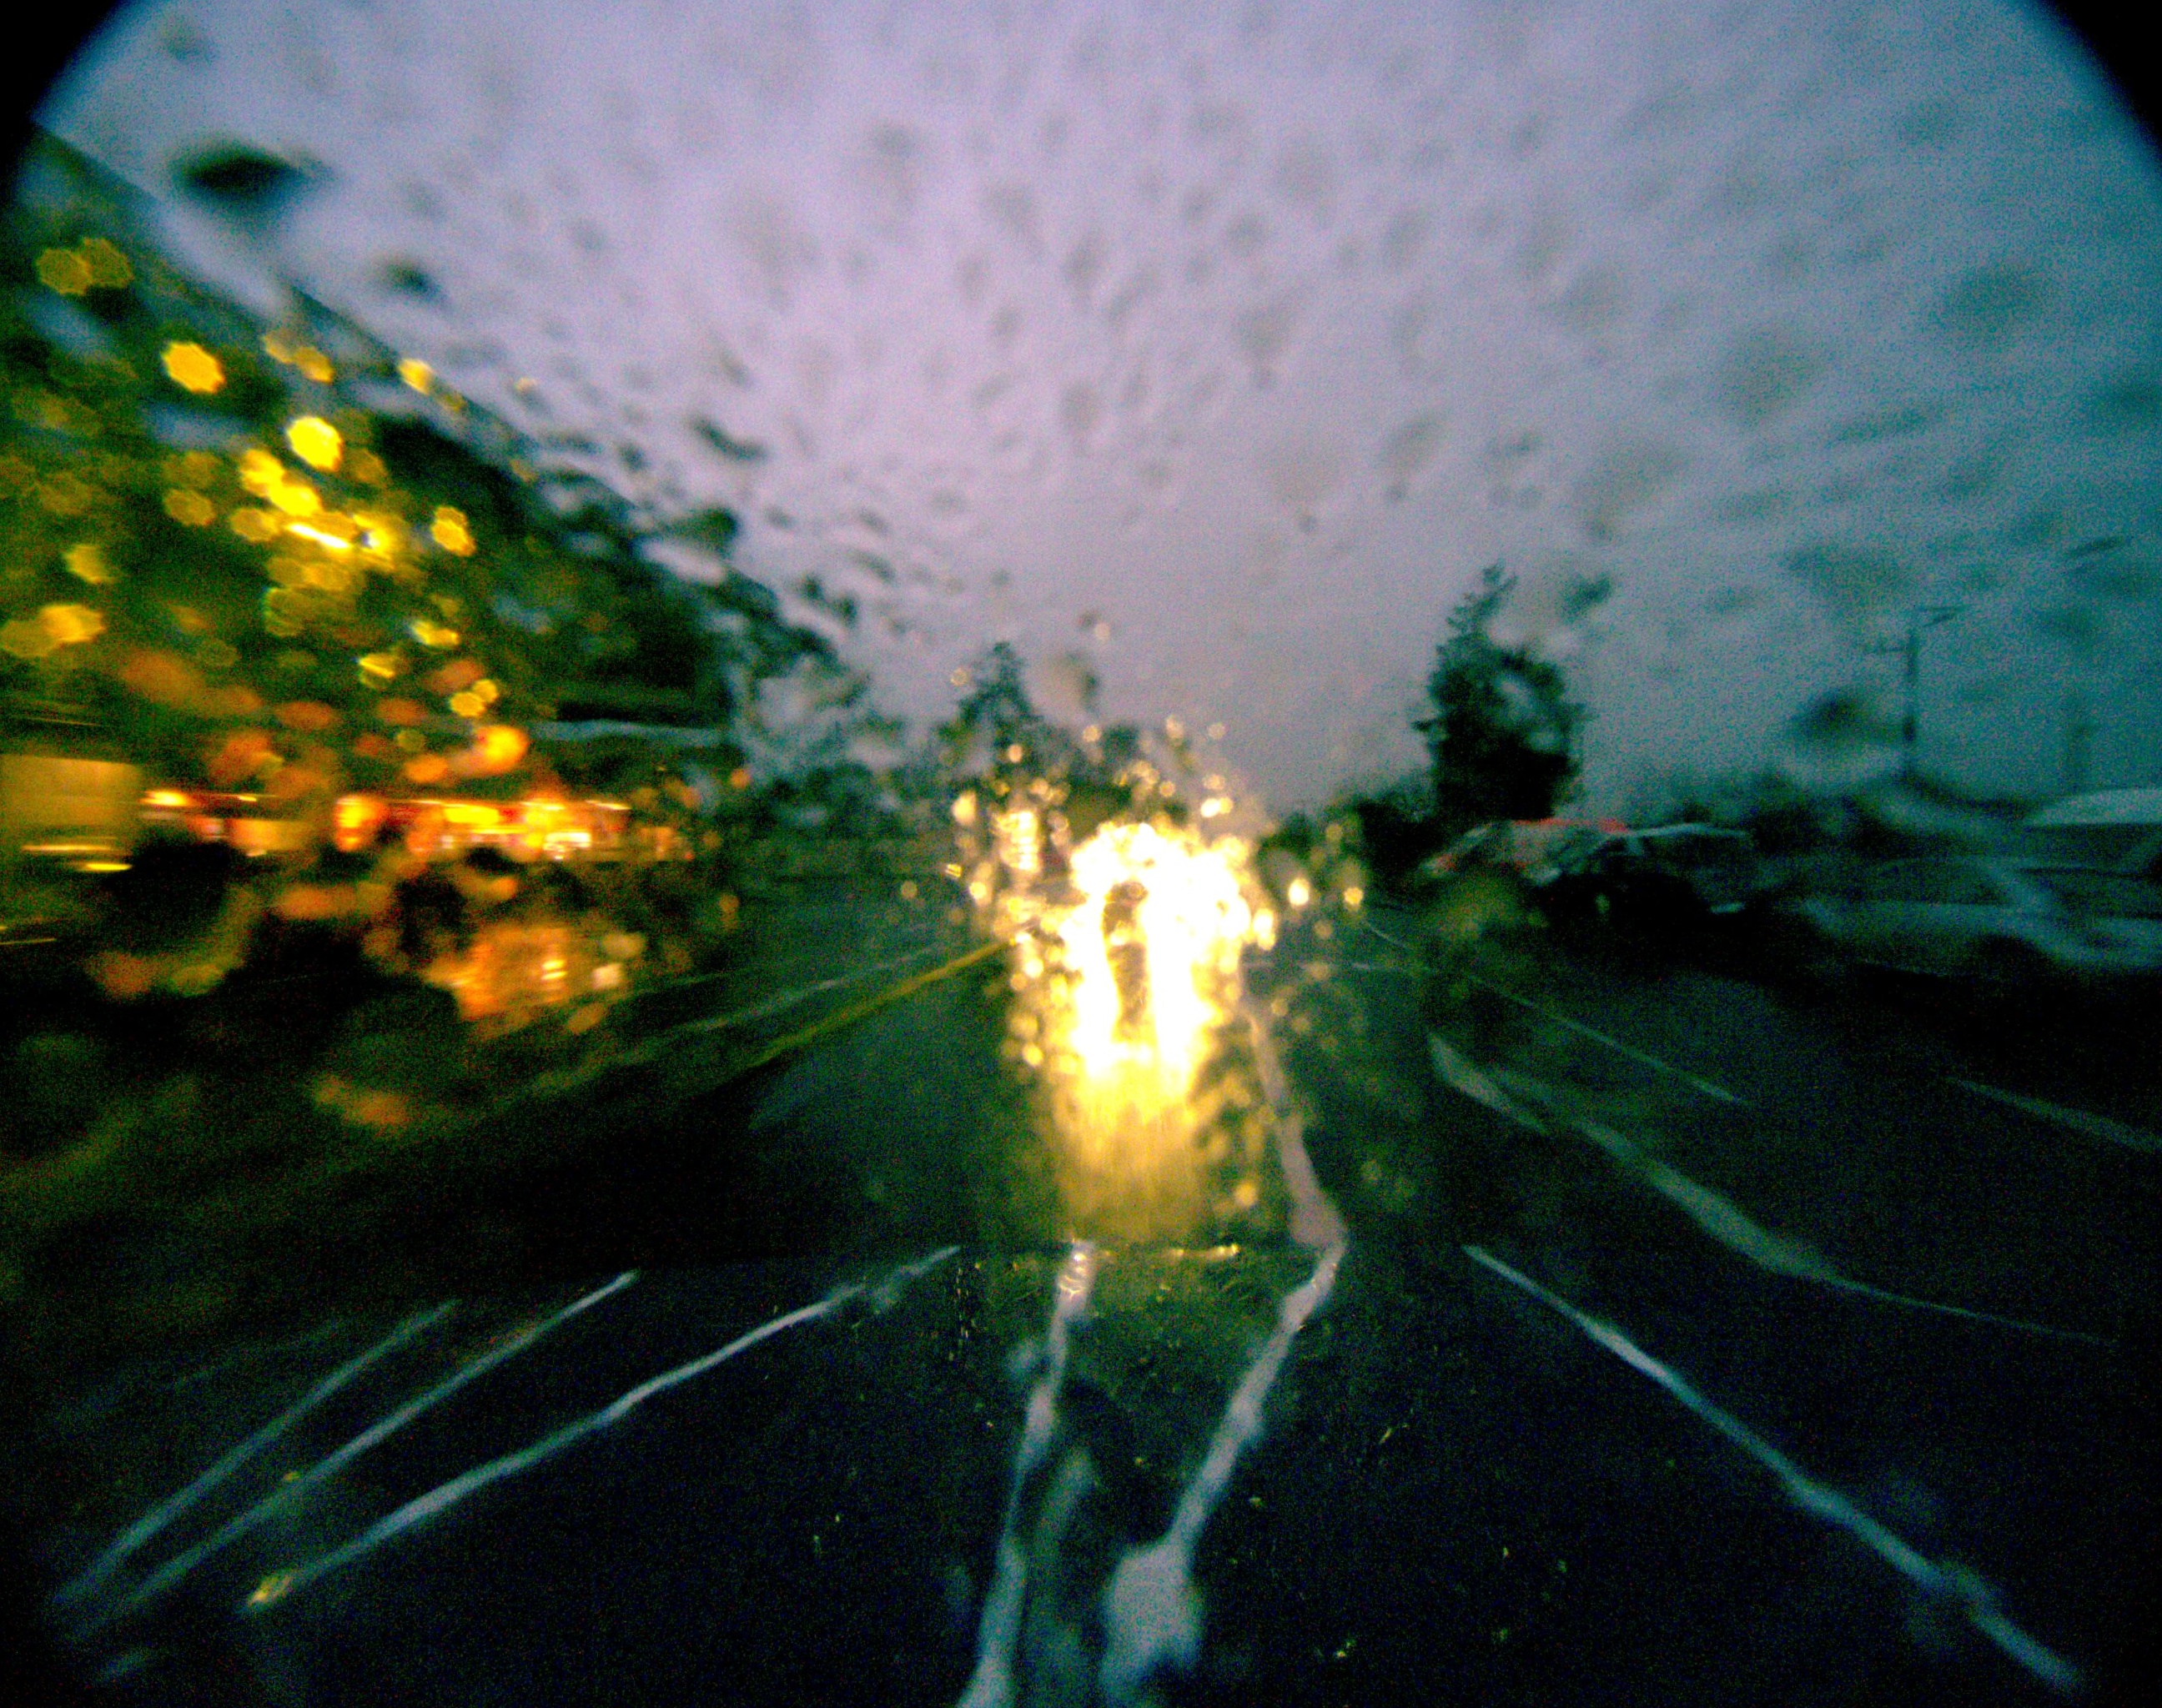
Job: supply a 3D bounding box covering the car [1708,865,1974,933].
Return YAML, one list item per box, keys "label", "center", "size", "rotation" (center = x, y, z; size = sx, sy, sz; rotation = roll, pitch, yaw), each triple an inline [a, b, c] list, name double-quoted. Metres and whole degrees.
- label: "car"
  center: [17.019, 0.976, 17.204]
  size: [3.995, 1.375, 1.843]
  rotation: [1, 0, 5]

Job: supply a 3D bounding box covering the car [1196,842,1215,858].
- label: "car"
  center: [13.363, -0.428, 81.802]
  size: [1.889, 1.618, 4.002]
  rotation: [-1, 1, 7]

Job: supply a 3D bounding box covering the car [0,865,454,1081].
- label: "car"
  center: [-8.122, 0.859, 6.563]
  size: [1.575, 1.388, 4.171]
  rotation: [1, 1, 9]

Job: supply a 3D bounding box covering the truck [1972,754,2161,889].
- label: "truck"
  center: [36.434, -1.172, 25.956]
  size: [8.709, 4.237, 3.006]
  rotation: [-2, 1, -2]

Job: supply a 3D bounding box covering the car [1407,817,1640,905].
- label: "car"
  center: [14.246, 0.190, 24.879]
  size: [6.167, 2.617, 2.177]
  rotation: [1, 1, 9]

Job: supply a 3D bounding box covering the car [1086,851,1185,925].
- label: "car"
  center: [1.272, 0.695, 17.640]
  size: [2.015, 1.484, 4.001]
  rotation: [-1, 1, 5]

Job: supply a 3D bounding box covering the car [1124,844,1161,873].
- label: "car"
  center: [3.845, 0.221, 46.863]
  size: [1.931, 1.701, 4.003]
  rotation: [-1, 1, 10]

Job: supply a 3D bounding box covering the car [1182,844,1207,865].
- label: "car"
  center: [9.289, -0.001, 61.944]
  size: [1.888, 1.618, 4.002]
  rotation: [-1, 1, 9]

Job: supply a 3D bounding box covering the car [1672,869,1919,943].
- label: "car"
  center: [13.792, 0.984, 14.821]
  size: [3.310, 1.321, 1.481]
  rotation: [0, 1, 5]

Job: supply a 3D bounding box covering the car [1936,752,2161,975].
- label: "car"
  center: [15.432, 0.118, 9.683]
  size: [6.043, 2.623, 2.197]
  rotation: [0, 1, 7]

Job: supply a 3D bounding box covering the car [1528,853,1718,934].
- label: "car"
  center: [10.732, 0.712, 15.401]
  size: [1.654, 1.411, 3.745]
  rotation: [1, 0, 10]

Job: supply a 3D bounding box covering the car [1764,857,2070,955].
- label: "car"
  center: [13.748, 0.803, 12.661]
  size: [3.234, 1.483, 1.499]
  rotation: [0, 1, 6]

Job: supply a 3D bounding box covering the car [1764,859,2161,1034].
- label: "car"
  center: [9.641, 0.786, 8.167]
  size: [1.652, 1.404, 3.843]
  rotation: [0, 1, 11]

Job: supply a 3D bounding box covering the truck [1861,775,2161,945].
- label: "truck"
  center: [22.699, 0.130, 18.279]
  size: [2.035, 3.435, 5.854]
  rotation: [2, 1, 5]

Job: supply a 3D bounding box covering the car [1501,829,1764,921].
- label: "car"
  center: [14.201, 0.486, 19.910]
  size: [5.155, 2.138, 2.060]
  rotation: [2, 1, 9]

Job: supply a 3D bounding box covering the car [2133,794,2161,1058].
- label: "car"
  center: [8.705, 0.577, 3.548]
  size: [1.838, 2.002, 4.487]
  rotation: [0, 1, 11]

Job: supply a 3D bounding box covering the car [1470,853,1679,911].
- label: "car"
  center: [14.393, 0.782, 22.430]
  size: [4.757, 1.474, 1.956]
  rotation: [2, 1, 9]

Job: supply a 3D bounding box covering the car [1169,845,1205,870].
- label: "car"
  center: [6.720, 0.199, 48.519]
  size: [2.015, 1.484, 4.001]
  rotation: [0, 1, 5]
